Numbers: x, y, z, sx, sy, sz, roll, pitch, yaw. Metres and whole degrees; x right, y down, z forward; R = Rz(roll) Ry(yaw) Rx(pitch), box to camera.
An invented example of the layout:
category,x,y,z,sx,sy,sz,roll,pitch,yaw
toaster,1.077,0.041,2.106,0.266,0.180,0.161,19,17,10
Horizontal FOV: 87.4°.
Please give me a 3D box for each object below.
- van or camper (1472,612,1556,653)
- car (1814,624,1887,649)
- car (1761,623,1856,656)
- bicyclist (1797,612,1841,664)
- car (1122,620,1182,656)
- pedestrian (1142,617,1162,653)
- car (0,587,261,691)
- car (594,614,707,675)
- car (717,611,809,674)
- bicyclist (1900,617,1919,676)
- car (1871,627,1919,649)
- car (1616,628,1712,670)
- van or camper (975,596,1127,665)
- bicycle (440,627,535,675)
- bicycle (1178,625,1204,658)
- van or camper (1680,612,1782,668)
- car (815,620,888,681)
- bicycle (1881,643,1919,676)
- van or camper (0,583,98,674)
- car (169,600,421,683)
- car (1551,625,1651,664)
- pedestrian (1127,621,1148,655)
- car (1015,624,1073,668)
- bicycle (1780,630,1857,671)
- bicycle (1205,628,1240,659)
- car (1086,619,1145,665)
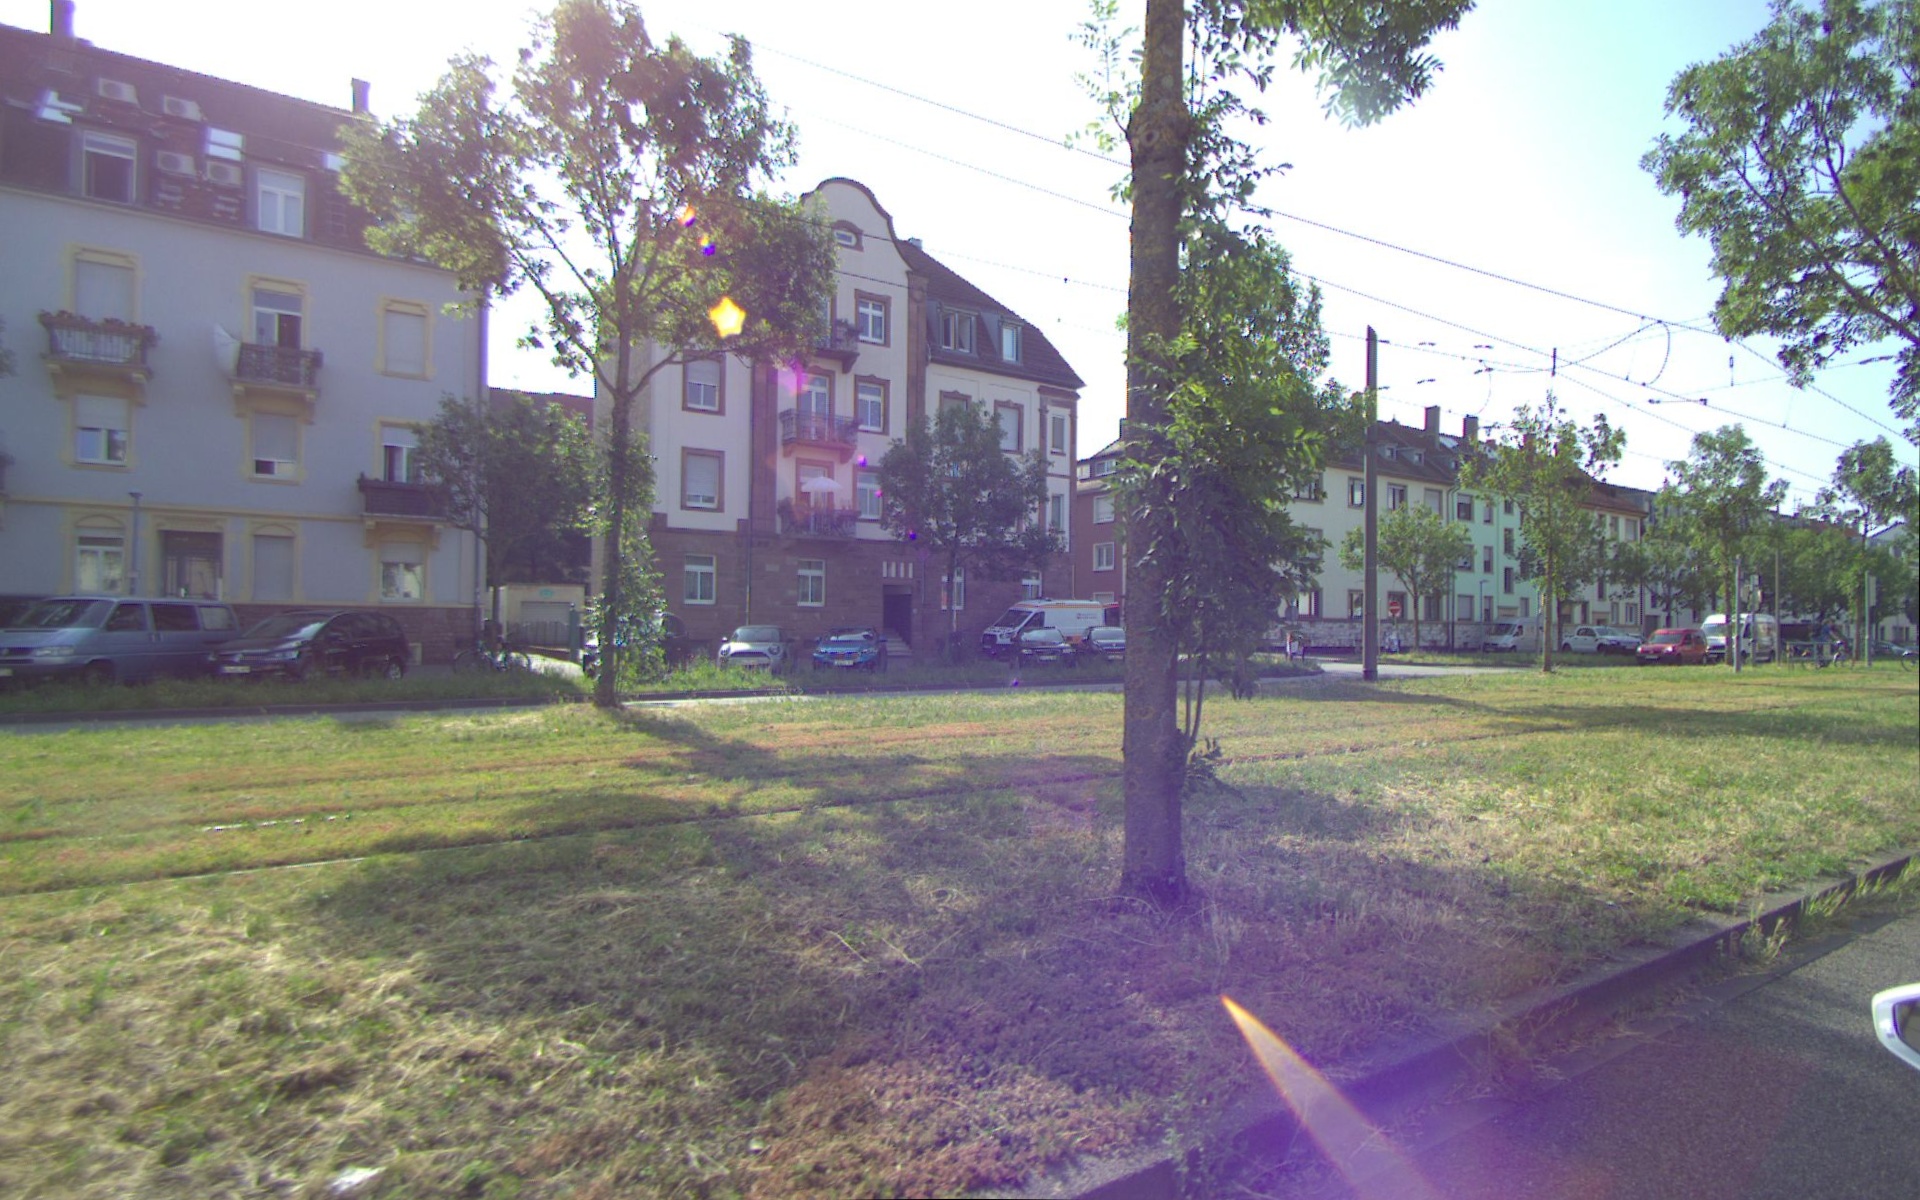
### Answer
category,x,y,z,sx,sy,sz,roll,pitch,yaw
van or camper,34.469,2.061,62.452,5.763,2.359,1.983,2,0,-32
car,65.180,2.640,73.583,1.436,1.550,3.995,2,0,-7
car,60.123,2.765,71.274,1.842,2.040,5.228,2,0,-7
bicyclist,30.783,1.351,36.011,1.133,1.785,0.683,3,1,39
car,10.621,2.041,55.365,1.980,1.790,4.325,3,0,29
pedestrian,9.109,1.661,47.670,0.612,1.688,0.579,2,1,-30
car,-16.118,0.632,19.180,2.017,1.645,5.220,2,0,-3
car,-7.751,1.073,25.529,1.606,1.286,4.000,2,0,0
car,-5.237,1.082,27.122,1.546,1.436,4.000,2,0,2
bicyclist,32.909,1.602,34.235,0.680,1.960,1.138,2,1,-37
car,74.120,2.990,78.699,1.436,1.550,3.995,2,0,-7
car,32.196,2.246,45.920,4.246,1.716,1.955,2,0,-30
van or camper,3.794,1.256,41.197,6.292,2.601,2.026,2,0,-34
bicycle,-11.127,1.184,23.723,0.460,1.063,1.992,3,1,43
bicycle,11.577,2.079,50.417,0.912,1.481,3.222,2,0,8
van or camper,38.293,1.990,49.827,5.969,2.565,2.189,2,0,-34
car,-2.931,1.342,27.897,1.546,1.436,4.000,2,0,0
bicycle,32.869,2.046,34.246,0.662,1.056,2.051,2,1,-37
van or camper,-18.836,0.511,18.237,1.962,1.645,4.852,2,0,4
car,-13.370,0.756,20.592,1.935,1.438,4.478,2,0,4
car,34.158,2.326,53.754,1.960,1.761,5.327,2,0,1
pedestrian,8.354,1.794,47.269,0.717,1.543,0.634,2,1,-30
car,2.587,1.410,31.530,1.468,1.176,3.164,2,0,-1
bicycle,30.762,1.786,36.031,2.041,1.342,0.780,3,1,40
bicycle,13.176,2.154,50.575,0.961,1.378,3.059,2,0,1
car,5.202,1.394,33.875,1.467,1.344,3.165,2,0,1
